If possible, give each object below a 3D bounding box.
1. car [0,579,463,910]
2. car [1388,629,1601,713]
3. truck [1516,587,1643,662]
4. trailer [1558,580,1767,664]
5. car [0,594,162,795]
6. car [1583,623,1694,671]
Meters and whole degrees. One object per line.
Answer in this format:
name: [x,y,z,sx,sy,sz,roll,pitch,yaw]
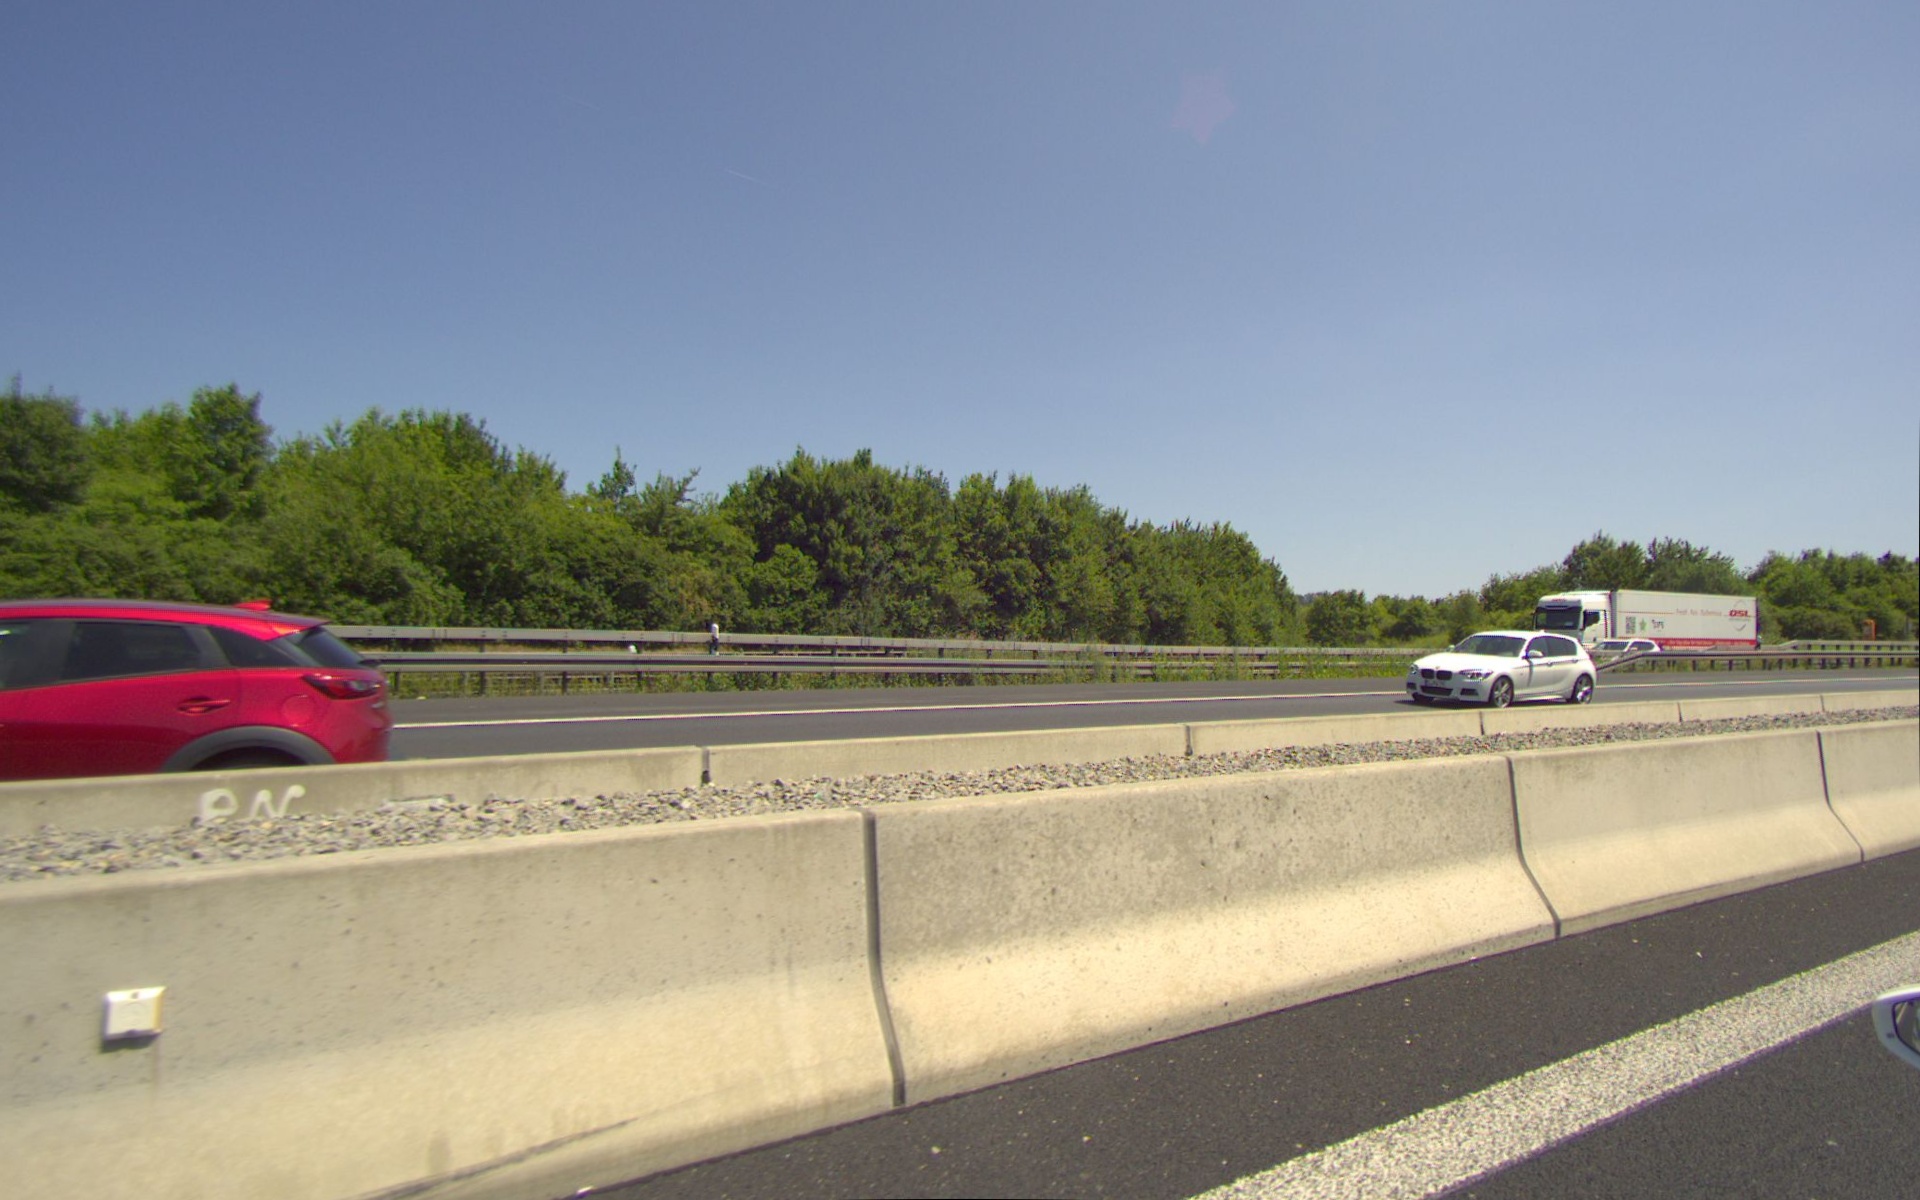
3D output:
car: [-5.534,0.734,5.858,4.580,1.681,1.984,2,-1,-30]
car: [10.466,1.334,19.634,3.952,1.413,1.842,2,0,-29]
truck: [30.855,1.253,50.048,5.341,3.550,3.072,2,-1,-27]
trailer: [37.732,1.292,53.663,13.906,4.050,3.096,2,-1,-27]
car: [-9.524,0.677,7.734,4.983,1.564,1.984,2,-1,-31]
car: [30.407,2.075,44.961,5.255,2.040,1.985,2,-2,-29]
